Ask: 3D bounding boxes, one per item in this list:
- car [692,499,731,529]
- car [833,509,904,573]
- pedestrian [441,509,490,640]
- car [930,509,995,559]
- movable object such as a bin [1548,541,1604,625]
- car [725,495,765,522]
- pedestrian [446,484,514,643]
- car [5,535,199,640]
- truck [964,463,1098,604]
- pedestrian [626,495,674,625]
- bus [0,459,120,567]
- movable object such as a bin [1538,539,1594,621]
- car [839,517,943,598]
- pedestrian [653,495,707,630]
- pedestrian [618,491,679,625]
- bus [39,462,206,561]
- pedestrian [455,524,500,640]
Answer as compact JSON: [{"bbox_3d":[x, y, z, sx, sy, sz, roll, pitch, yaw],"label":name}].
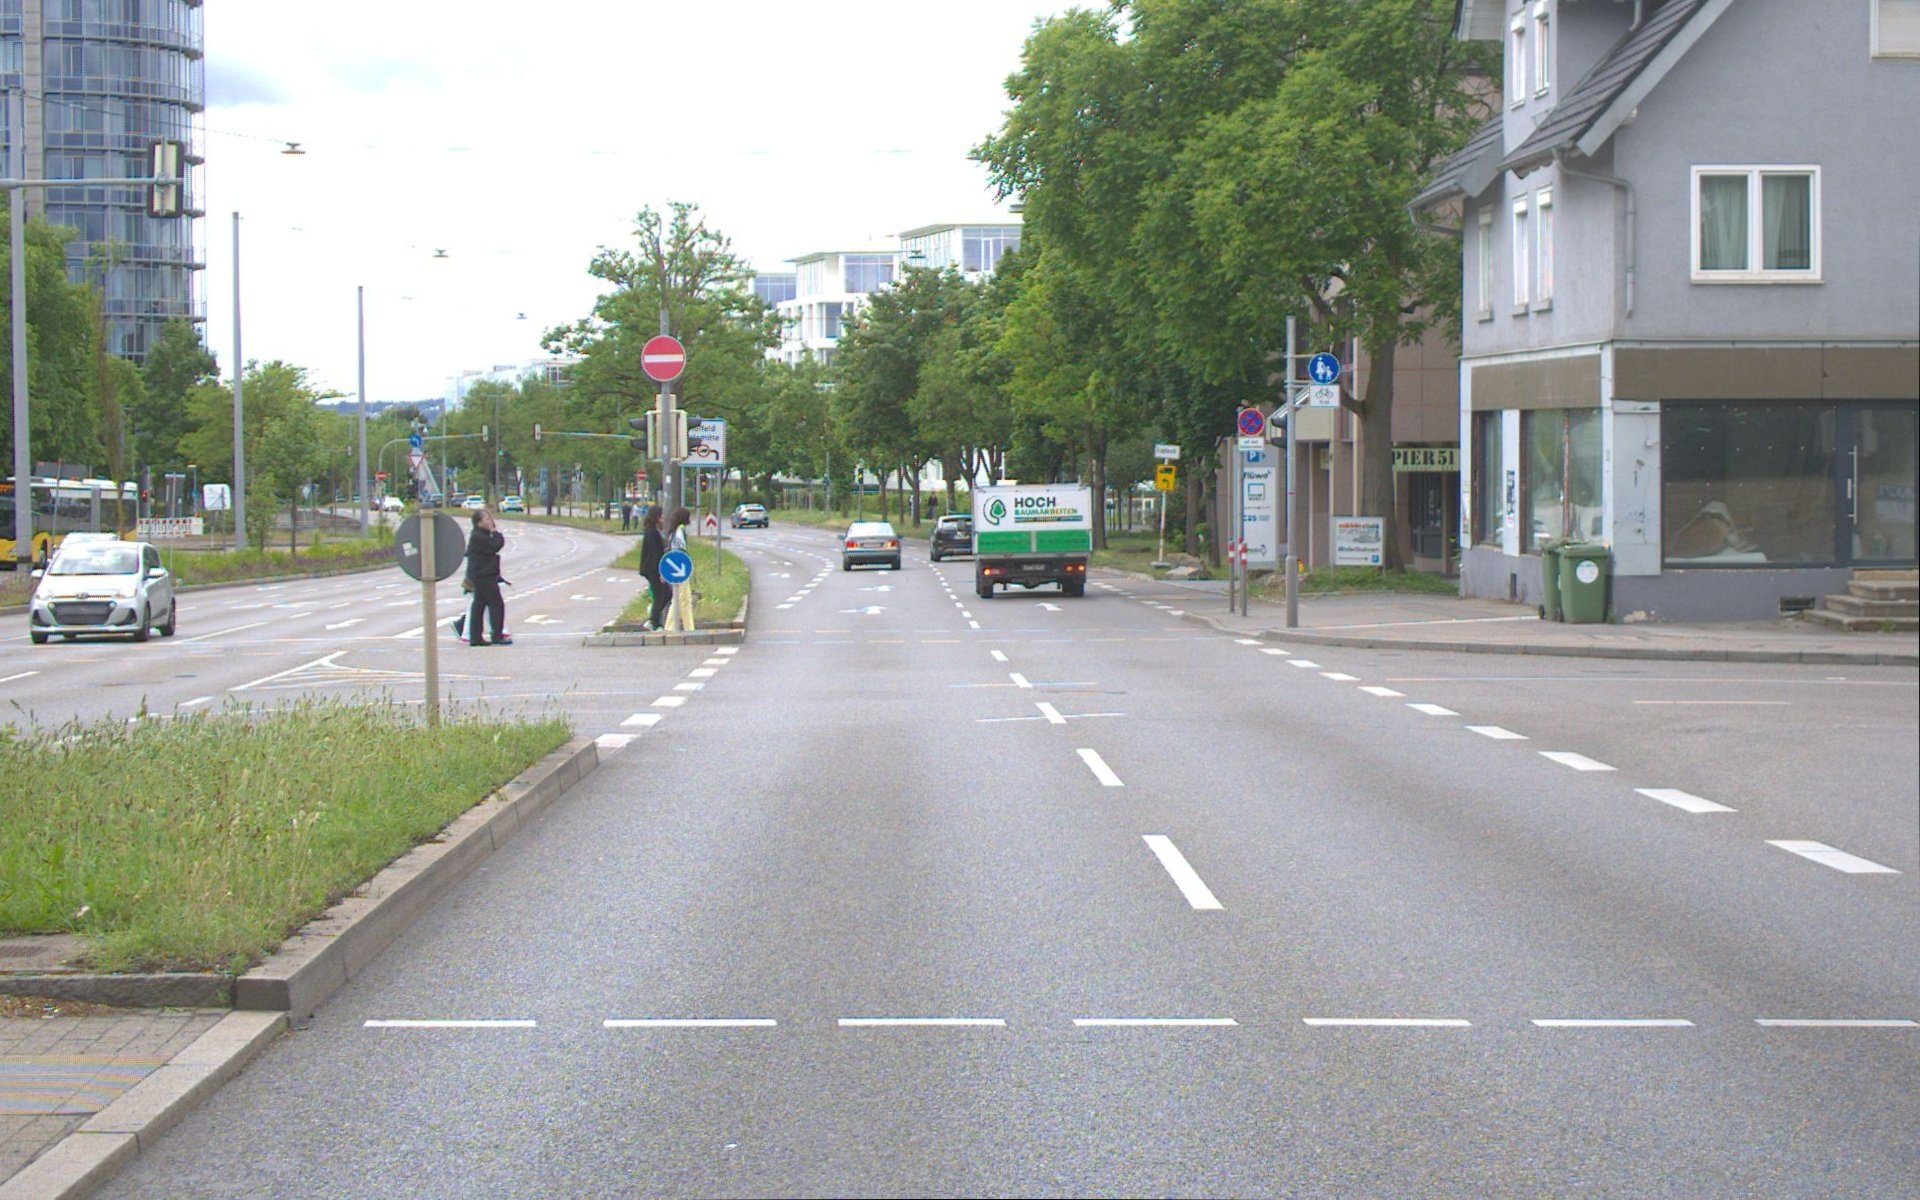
[{"bbox_3d":[-12.756,-4.413,176.412,1.993,1.514,4.001,-1,2,-4],"label":"car"},{"bbox_3d":[-2.626,-1.712,99.333,1.993,1.824,4.000,0,1,-1],"label":"car"},{"bbox_3d":[-6.537,-0.337,45.440,0.612,1.710,0.546,-1,1,-7],"label":"pedestrian"},{"bbox_3d":[0.049,-2.125,110.566,1.993,1.546,4.000,1,1,-1],"label":"car"},{"bbox_3d":[7.923,-0.226,44.221,0.604,1.056,0.589,1,1,1],"label":"movable object such as a bin"},{"bbox_3d":[-12.954,-5.498,206.993,1.993,1.546,4.001,-1,1,-9],"label":"car"},{"bbox_3d":[-6.122,-0.469,43.872,0.829,2.007,0.546,-1,1,-7],"label":"pedestrian"},{"bbox_3d":[-12.715,-0.213,51.188,1.993,1.481,4.001,-1,1,-2],"label":"car"},{"bbox_3d":[1.391,-1.377,67.985,2.471,2.602,6.548,1,2,1],"label":"truck"},{"bbox_3d":[-4.105,-0.532,45.486,0.583,1.710,0.546,-1,1,-7],"label":"pedestrian"},{"bbox_3d":[-30.968,-2.864,114.369,2.832,3.419,10.732,-1,1,3],"label":"bus"},{"bbox_3d":[7.902,-0.265,44.856,0.616,1.039,0.589,1,1,1],"label":"movable object such as a bin"},{"bbox_3d":[-1.371,-0.868,68.637,1.993,1.546,4.000,1,1,-1],"label":"car"},{"bbox_3d":[-3.594,-0.485,44.180,0.653,1.710,0.452,-1,1,-7],"label":"pedestrian"},{"bbox_3d":[-4.053,-0.548,44.685,0.745,1.710,0.583,-1,1,-7],"label":"pedestrian"},{"bbox_3d":[-30.354,-3.180,125.106,2.832,3.419,10.732,-1,1,3],"label":"bus"},{"bbox_3d":[-6.249,-0.236,44.530,0.543,1.491,0.487,-1,1,-9],"label":"pedestrian"}]
